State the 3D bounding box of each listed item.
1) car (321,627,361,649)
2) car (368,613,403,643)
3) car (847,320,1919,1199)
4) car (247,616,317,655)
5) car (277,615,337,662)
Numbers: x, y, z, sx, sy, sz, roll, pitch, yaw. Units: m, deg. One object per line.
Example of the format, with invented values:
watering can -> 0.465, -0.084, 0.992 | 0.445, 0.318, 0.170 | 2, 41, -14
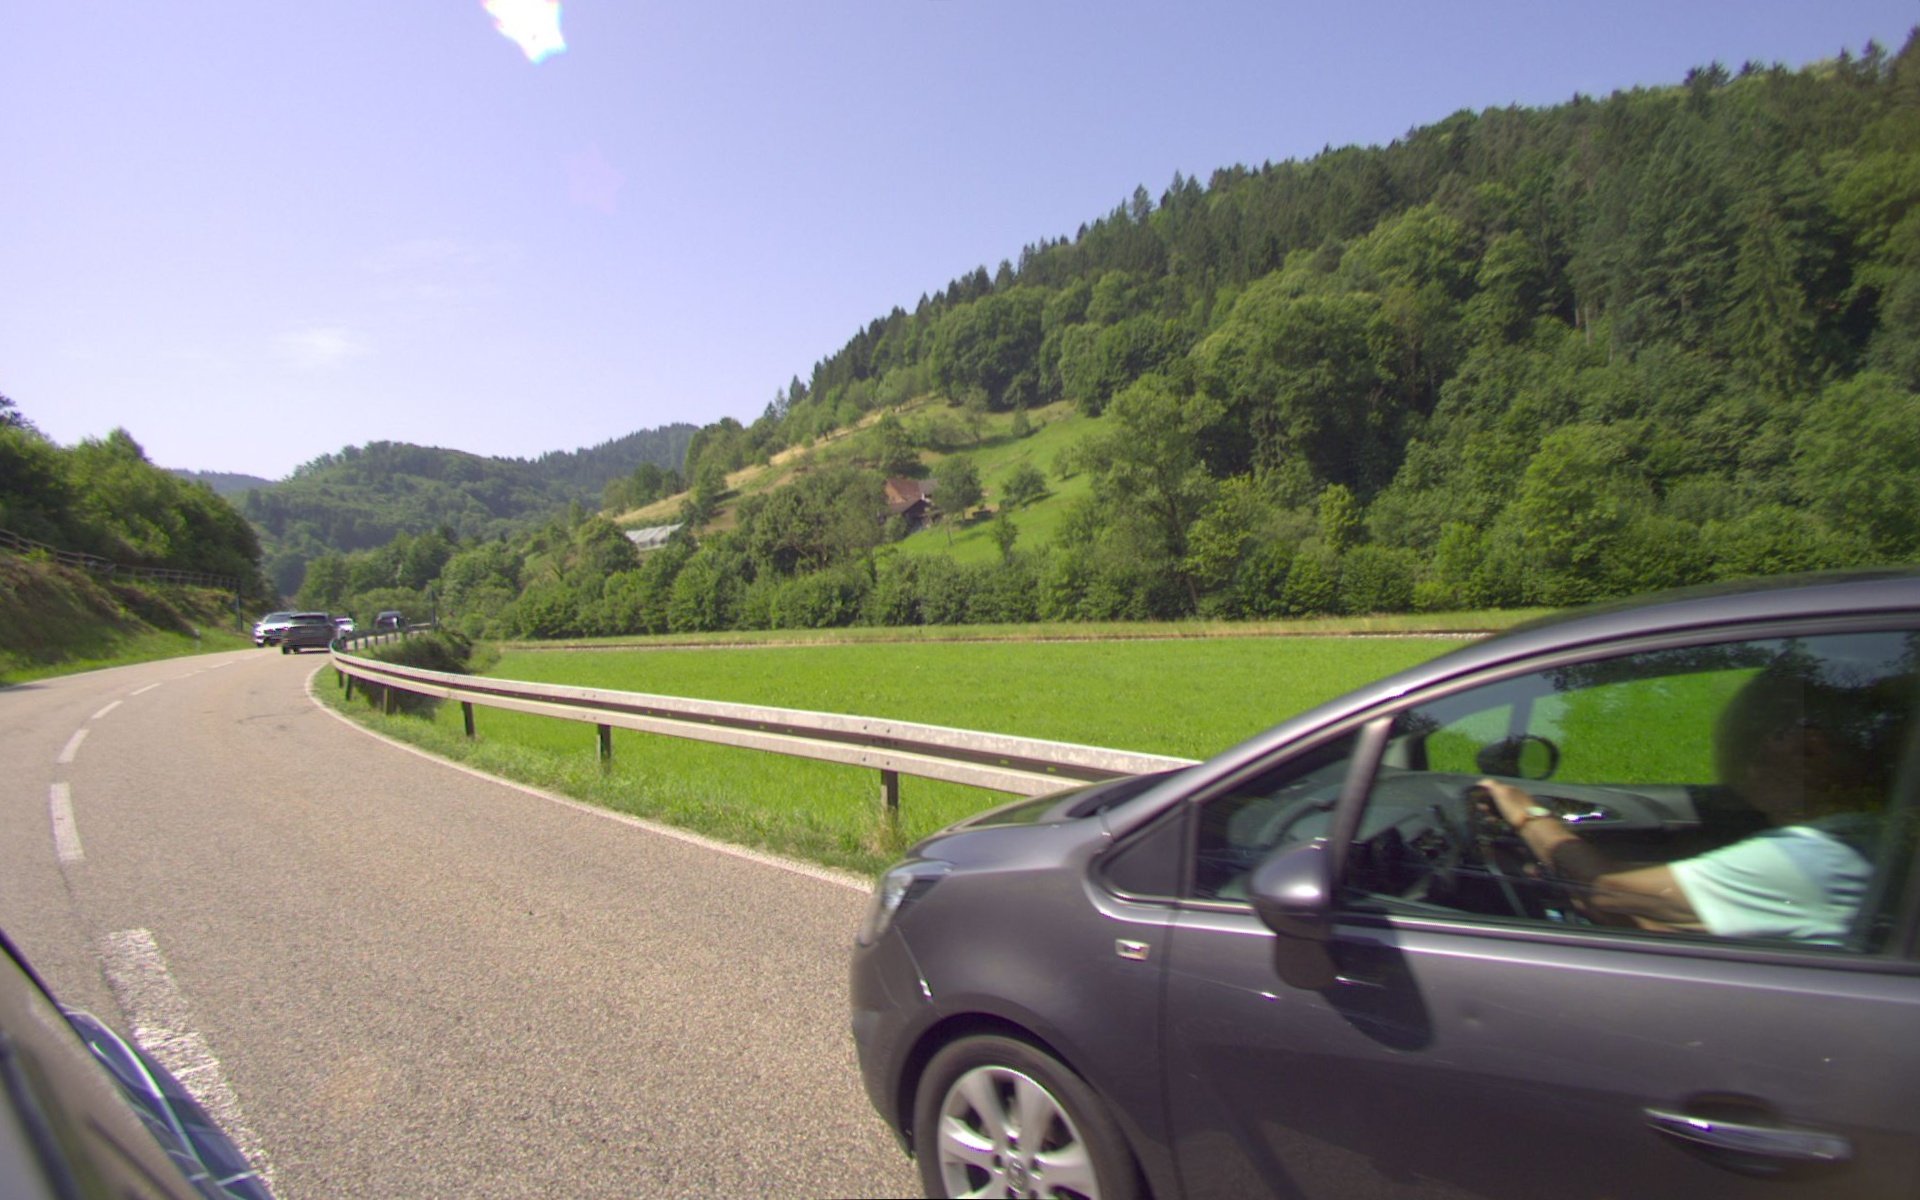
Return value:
car -> -43.989, 2.698, 71.963 | 2.111, 1.502, 4.687 | 0, -2, -28
car -> -41.645, 2.012, 73.461 | 1.965, 2.029, 4.013 | -1, 0, -27
car -> 2.236, 0.570, 1.372 | 4.892, 1.753, 1.930 | -2, -3, 40
car -> -35.947, 1.834, 53.777 | 2.083, 1.828, 4.470 | -3, 0, -21
car -> -26.148, 1.521, 40.614 | 1.684, 1.687, 4.012 | -3, 0, -29
